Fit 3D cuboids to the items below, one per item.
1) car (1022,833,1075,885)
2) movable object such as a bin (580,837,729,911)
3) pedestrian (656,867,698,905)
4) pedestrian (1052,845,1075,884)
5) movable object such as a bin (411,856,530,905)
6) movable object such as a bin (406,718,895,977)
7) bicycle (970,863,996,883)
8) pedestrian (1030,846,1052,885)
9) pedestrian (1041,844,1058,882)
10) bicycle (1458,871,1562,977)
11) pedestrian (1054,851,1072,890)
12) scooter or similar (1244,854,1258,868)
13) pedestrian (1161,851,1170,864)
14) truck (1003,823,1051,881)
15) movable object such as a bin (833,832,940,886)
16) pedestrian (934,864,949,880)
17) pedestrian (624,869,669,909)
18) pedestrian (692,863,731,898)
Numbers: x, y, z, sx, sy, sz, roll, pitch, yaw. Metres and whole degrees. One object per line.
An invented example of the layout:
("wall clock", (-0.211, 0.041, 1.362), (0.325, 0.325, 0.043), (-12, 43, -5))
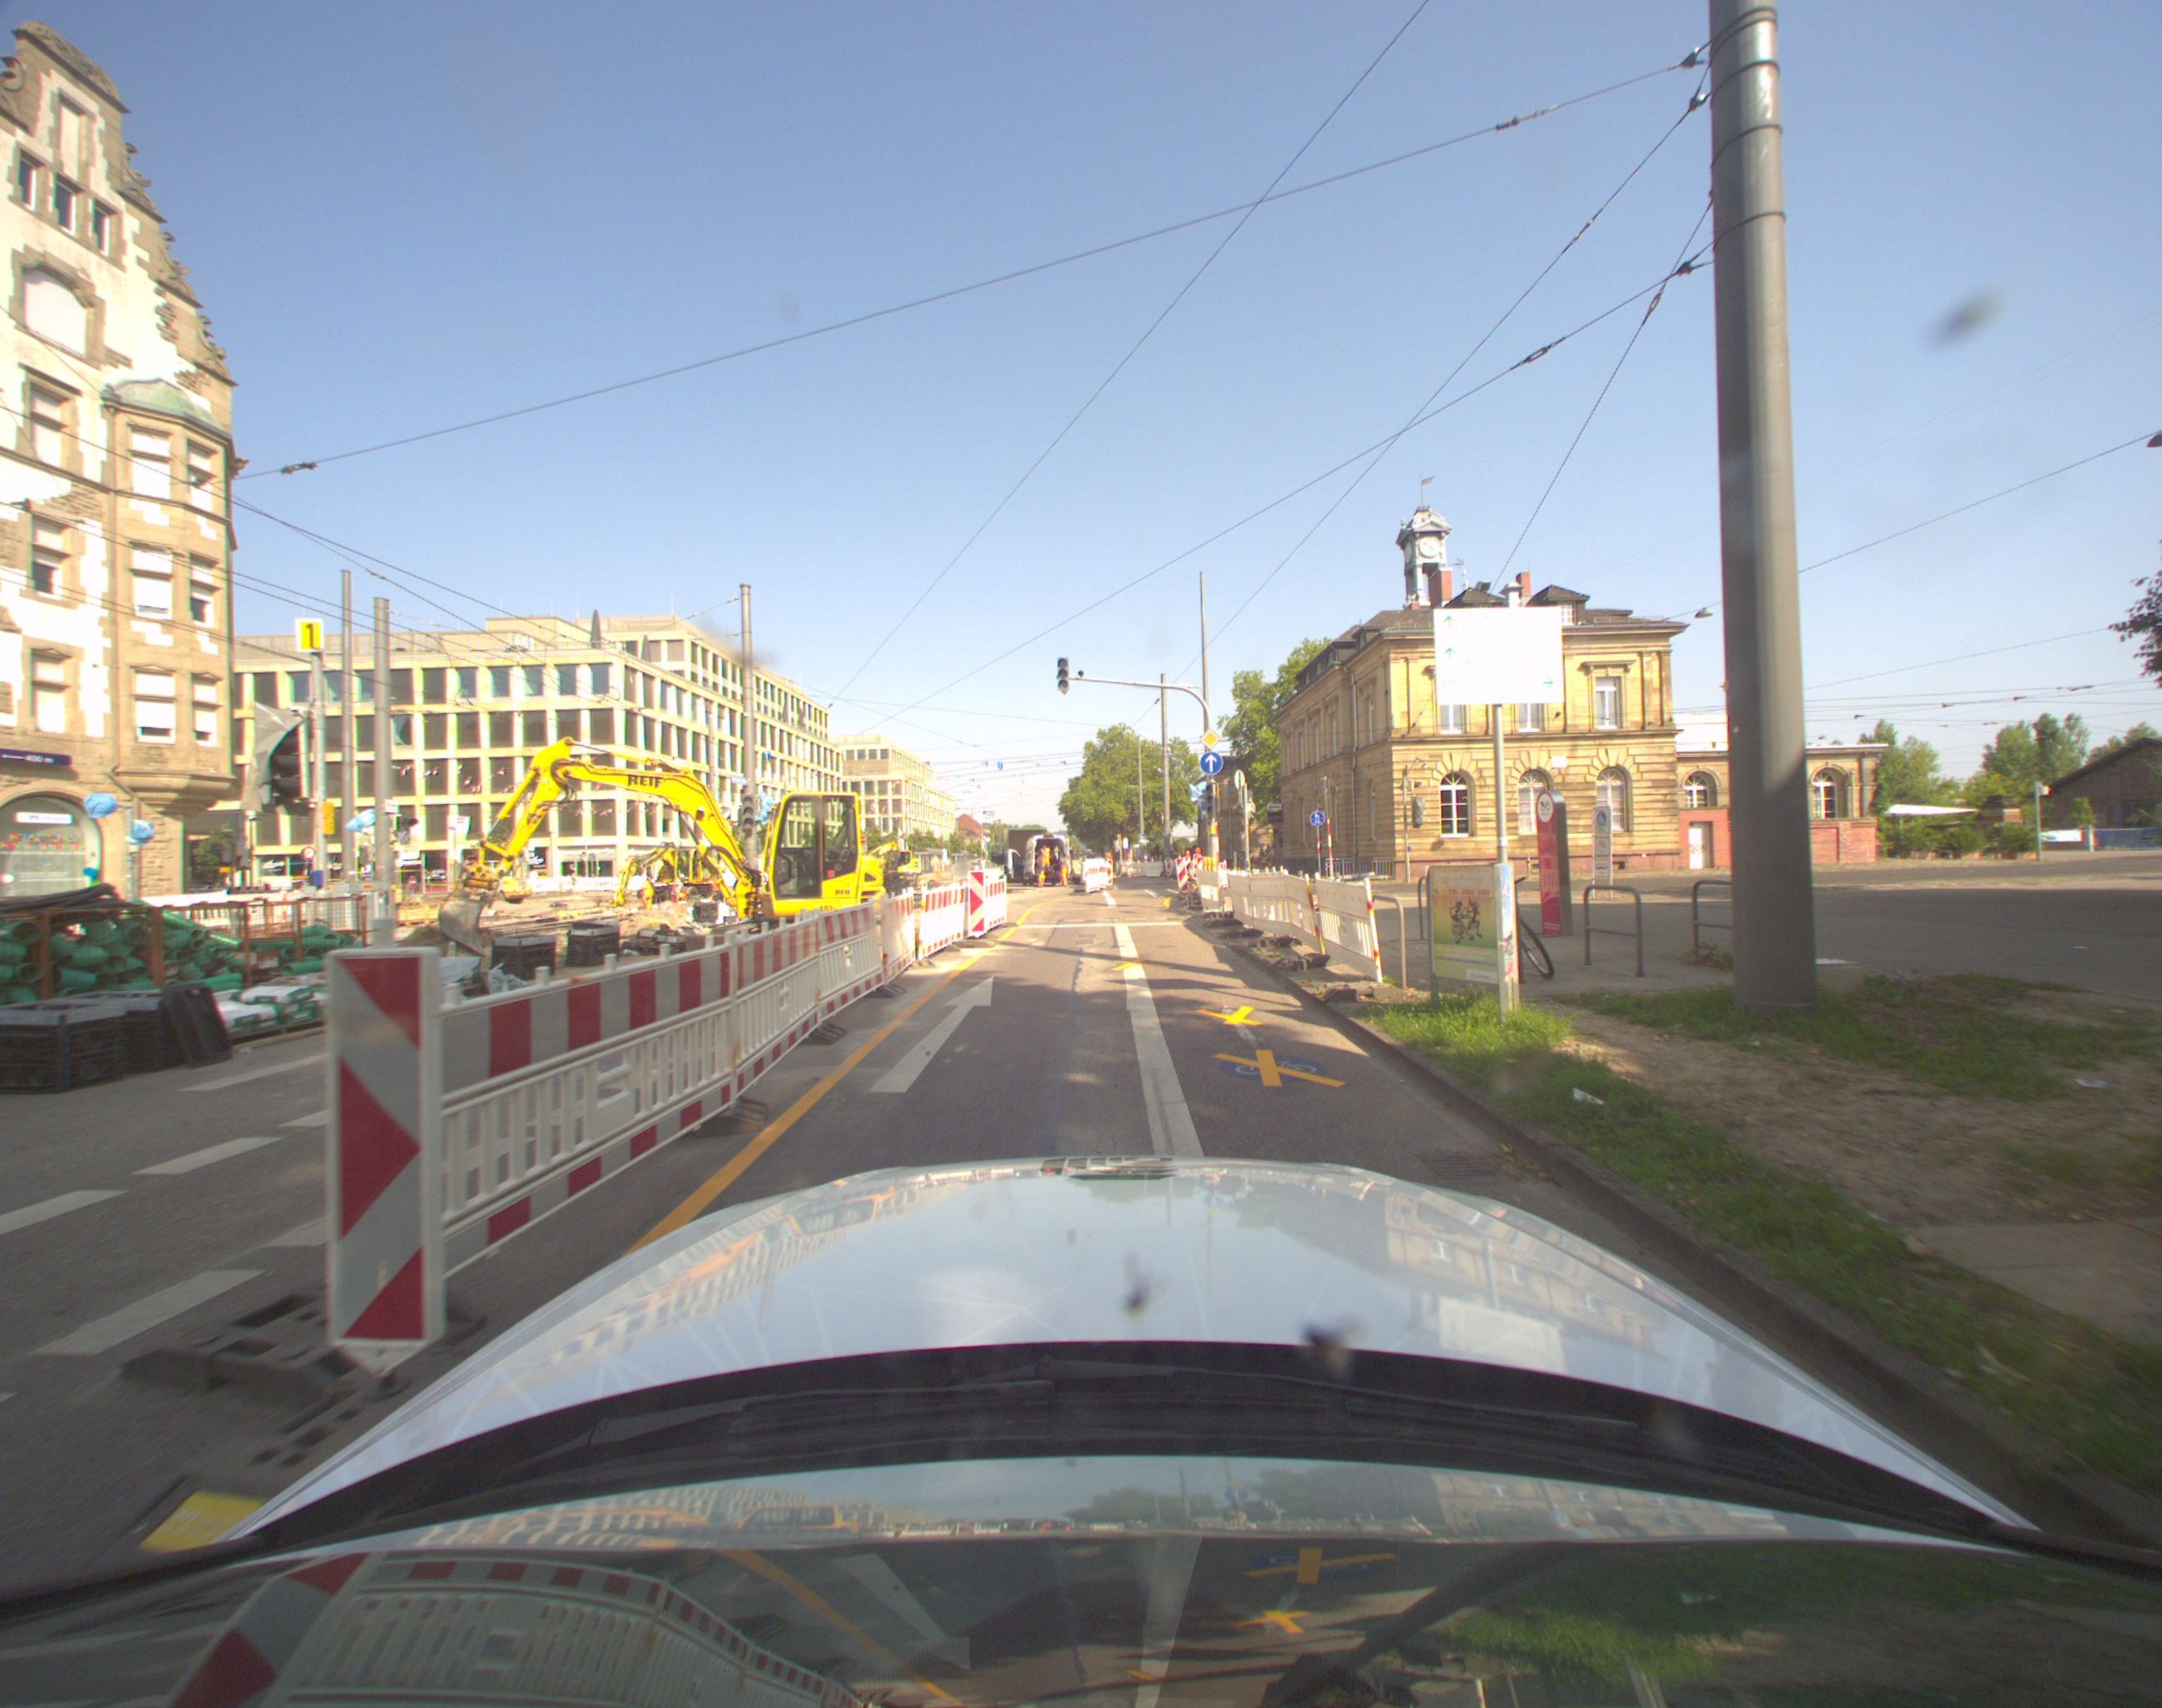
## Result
("car", (-1.930, 0.301, 46.253), (2.225, 2.729, 5.152), (-2, -1, -10))
("movable object such as a bin", (-21.632, 0.951, 42.036), (2.835, 3.330, 8.351), (-2, -1, 3))
("pedestrian", (-16.015, 1.273, 32.303), (1.138, 1.442, 0.918), (-2, -1, 2))
("pedestrian", (-0.895, 0.543, 42.366), (0.727, 2.014, 0.913), (-3, -1, 34))
("movable object such as a bin", (-37.142, 1.602, 49.649), (5.594, 2.739, 2.135), (-2, -1, 0))
("movable object such as a bin", (-6.135, -0.134, 12.556), (6.161, 3.346, 2.103), (-1, -1, -19))
("bicycle", (-5.904, 1.152, 48.943), (1.641, 1.136, 0.621), (-3, -1, 43))
("pedestrian", (-2.116, 0.606, 43.061), (0.727, 2.014, 0.913), (-3, -1, 33))
("pedestrian", (-1.717, 0.485, 44.436), (0.730, 2.014, 0.909), (-2, -1, 6))
("bicycle", (4.469, 0.691, 8.570), (0.408, 0.987, 1.377), (-2, 0, 3))
("pedestrian", (-0.933, 0.864, 43.328), (0.730, 2.014, 0.909), (-2, -1, 8))
("scooter or similar", (16.149, 0.640, 77.399), (1.257, 1.210, 0.419), (-3, 1, -25))
("pedestrian", (11.198, 0.494, 108.017), (0.816, 1.686, 1.012), (-7, -1, 1))
("truck", (-3.903, -0.090, 57.182), (2.672, 3.678, 8.191), (-2, 0, -8))
("movable object such as a bin", (-15.643, 0.362, 66.434), (3.472, 4.013, 9.094), (-2, 0, 25))
("pedestrian", (-12.176, 1.540, 70.997), (1.010, 1.306, 0.984), (-2, 0, 4))
("pedestrian", (-16.262, 1.302, 30.495), (1.138, 1.442, 0.918), (-2, -1, 2))
("pedestrian", (-15.799, 1.125, 34.835), (1.138, 1.442, 1.021), (-2, -1, 2))
